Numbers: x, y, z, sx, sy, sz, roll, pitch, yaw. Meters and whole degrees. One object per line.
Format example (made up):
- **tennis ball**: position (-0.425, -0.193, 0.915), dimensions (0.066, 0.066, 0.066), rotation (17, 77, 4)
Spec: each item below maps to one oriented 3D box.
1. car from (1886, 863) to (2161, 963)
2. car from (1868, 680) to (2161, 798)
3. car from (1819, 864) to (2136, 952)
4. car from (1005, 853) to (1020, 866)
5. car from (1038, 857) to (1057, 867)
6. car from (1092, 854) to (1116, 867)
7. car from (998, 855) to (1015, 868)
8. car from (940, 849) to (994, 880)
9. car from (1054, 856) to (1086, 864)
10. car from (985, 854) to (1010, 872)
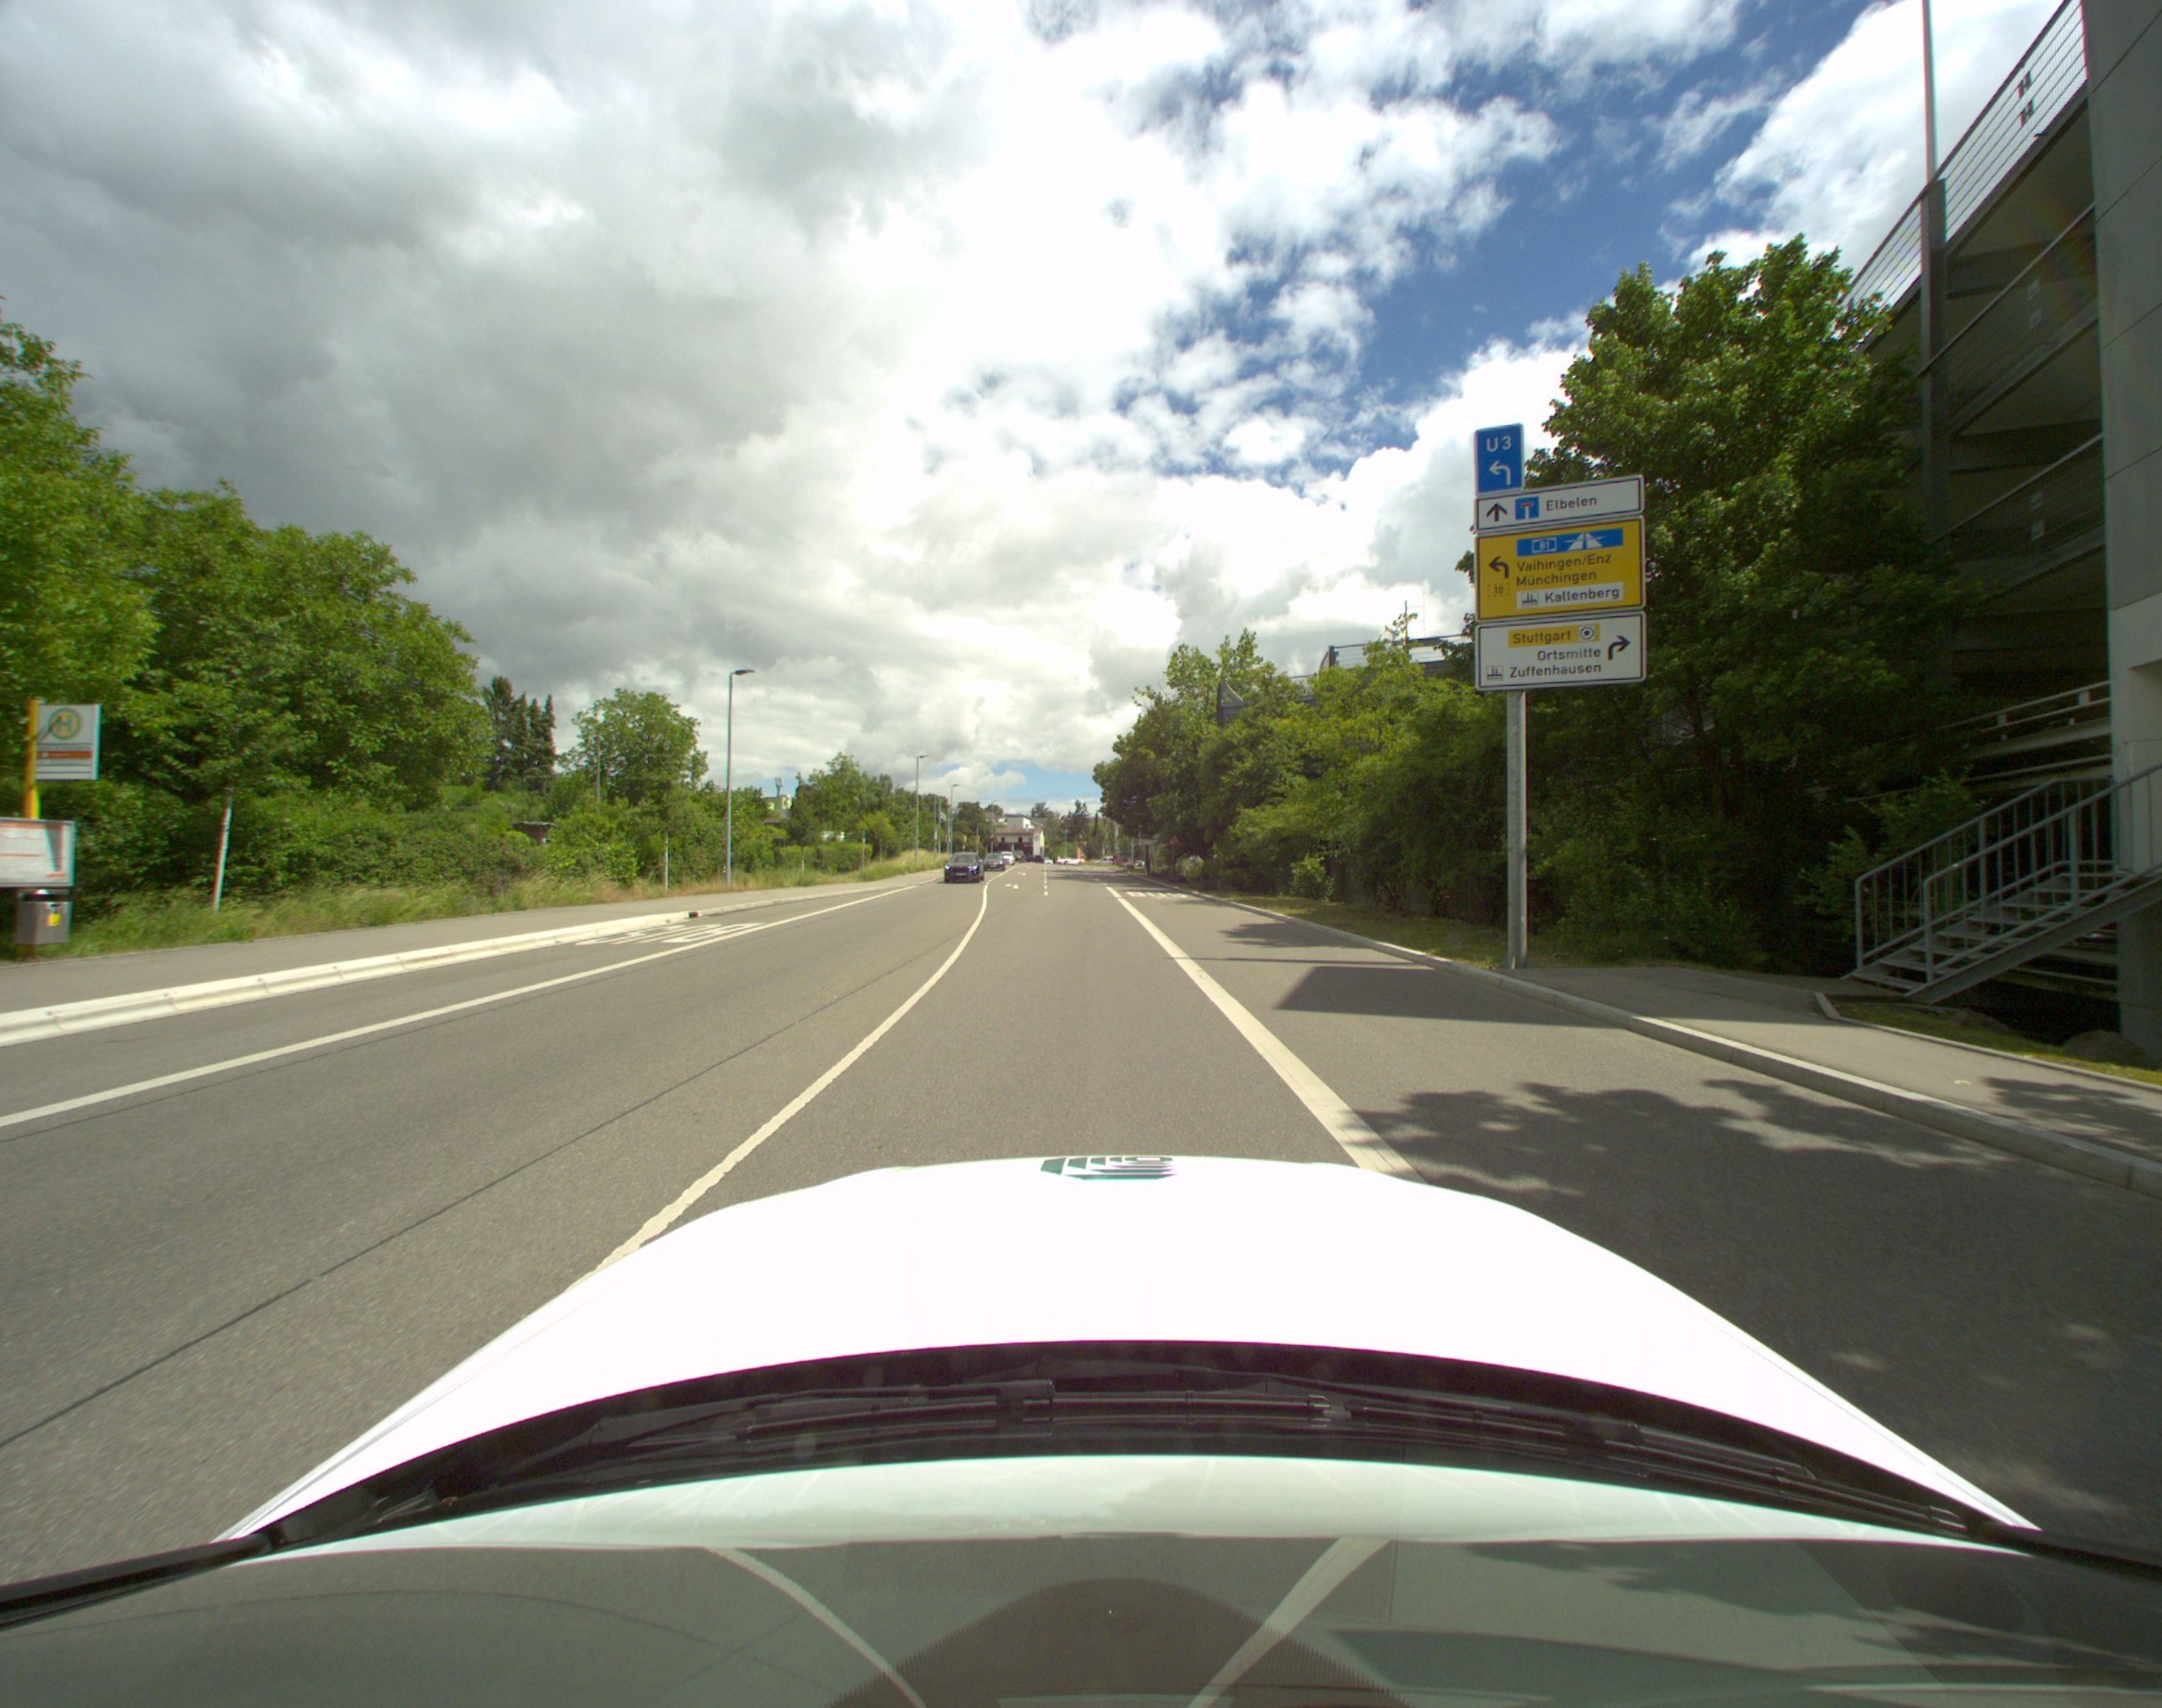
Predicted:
- **car**: position (16.100, 0.913, 13.380), dimensions (3.731, 1.469, 1.674), rotation (0, 0, 21)
- **car**: position (15.723, -1.812, 13.337), dimensions (3.731, 1.624, 1.674), rotation (0, 0, 21)
- **car**: position (16.802, 0.943, 15.519), dimensions (3.731, 1.469, 1.674), rotation (0, 0, 21)
- **car**: position (-9.203, 0.698, 109.469), dimensions (1.816, 1.654, 4.529), rotation (0, 0, -2)
- **car**: position (-6.340, 1.511, 153.132), dimensions (1.913, 1.860, 3.770), rotation (0, -2, -33)
- **car**: position (3.751, 1.026, 132.979), dimensions (3.974, 2.014, 2.000), rotation (-1, -1, 0)
- **car**: position (-8.477, 0.799, 92.856), dimensions (1.762, 1.442, 3.895), rotation (-1, 0, -3)
- **car**: position (-6.097, 0.540, 44.226), dimensions (1.813, 1.557, 4.636), rotation (-1, 0, 6)
- **car**: position (-1.686, 0.941, 125.228), dimensions (4.629, 1.291, 1.890), rotation (0, -1, -36)
- **car**: position (-6.830, 0.746, 66.906), dimensions (1.762, 1.442, 4.372), rotation (-1, 0, -3)
